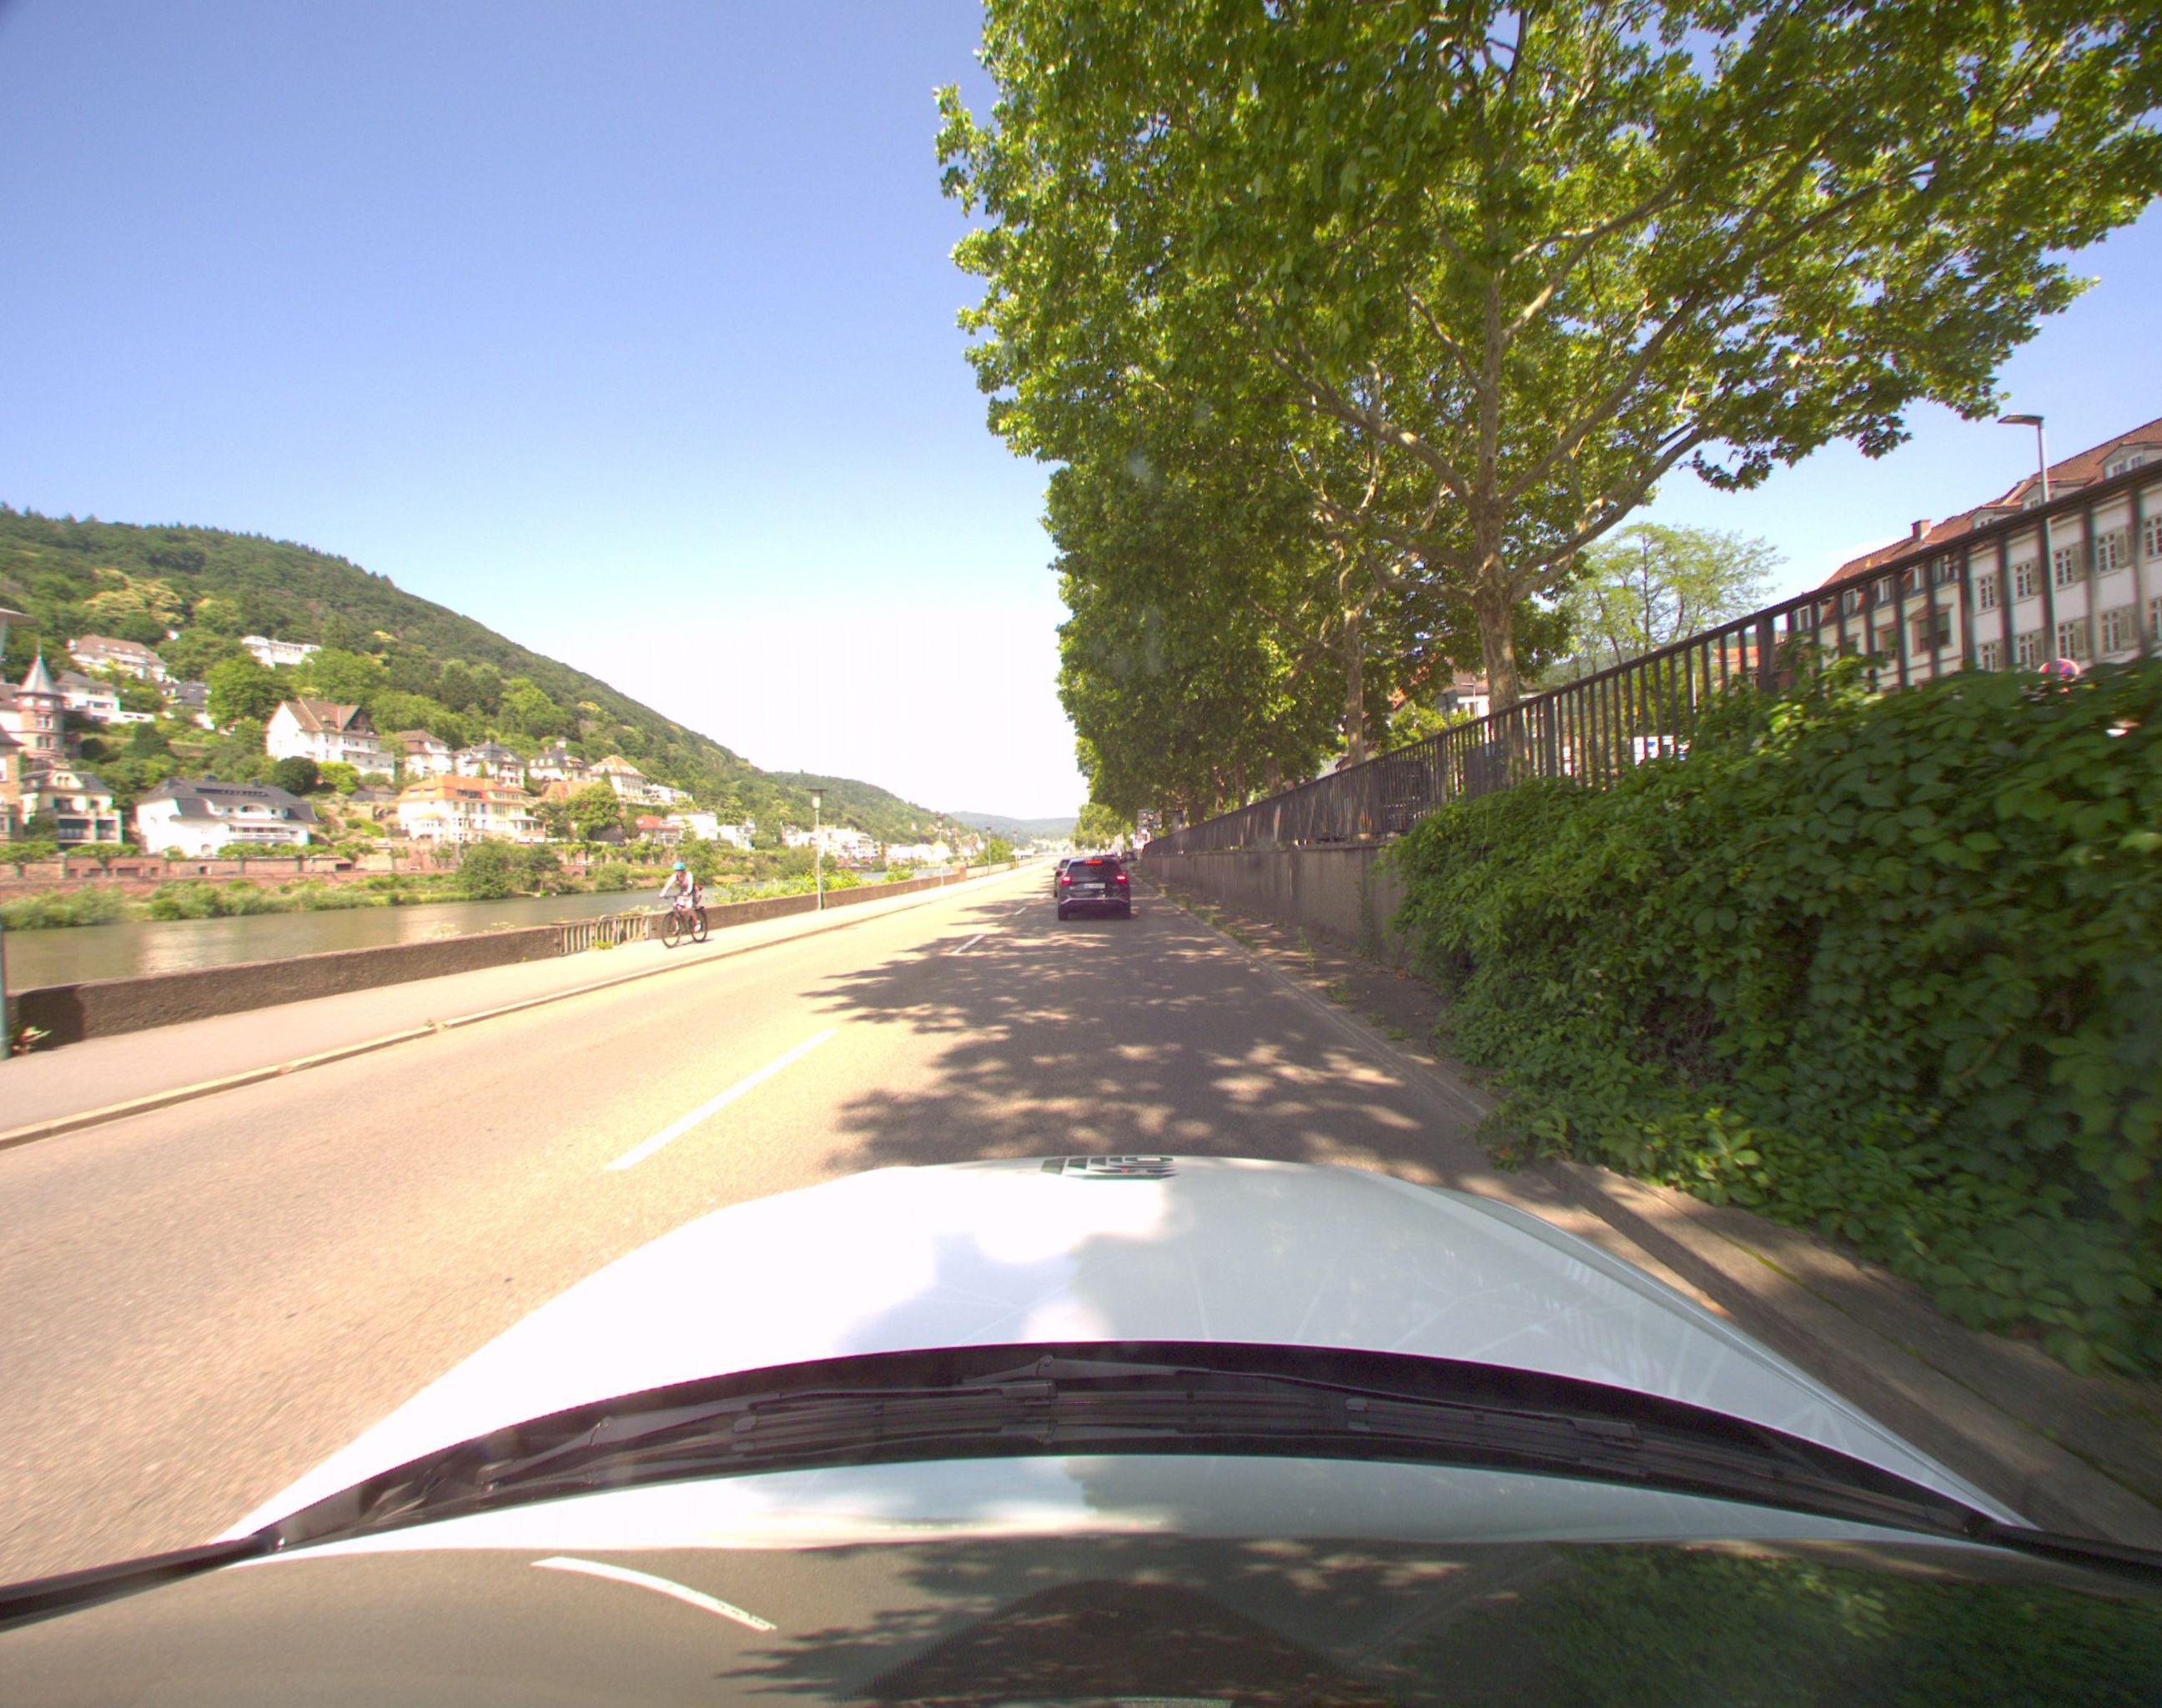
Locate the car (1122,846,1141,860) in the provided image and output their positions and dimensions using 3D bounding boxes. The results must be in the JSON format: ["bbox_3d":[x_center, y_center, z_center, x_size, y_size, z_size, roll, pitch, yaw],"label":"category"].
[{"bbox_3d":[8.291,-0.103,133.904,2.653,2.013,5.825,-5,0,1],"label":"car"}]

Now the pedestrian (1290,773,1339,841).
[{"bbox_3d":[5.094,-1.000,17.793,0.678,1.365,0.989,-5,0,1],"label":"pedestrian"}]

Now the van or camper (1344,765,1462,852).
[{"bbox_3d":[10.263,-1.225,25.462,2.315,2.184,7.402,0,-1,31],"label":"van or camper"}]

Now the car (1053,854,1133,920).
[{"bbox_3d":[0.314,0.776,21.052,1.822,1.486,4.000,-1,0,1],"label":"car"}]

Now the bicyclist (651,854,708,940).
[{"bbox_3d":[-8.144,0.853,16.550,0.635,1.673,0.871,-3,0,0],"label":"bicyclist"}]

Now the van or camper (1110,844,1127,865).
[{"bbox_3d":[5.290,0.045,114.855,2.300,2.847,4.249,-3,0,3],"label":"van or camper"}]

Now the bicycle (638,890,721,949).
[{"bbox_3d":[-8.121,1.293,16.562,0.630,1.012,1.986,-3,0,1],"label":"bicycle"}]

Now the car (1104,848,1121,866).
[{"bbox_3d":[4.049,0.404,105.809,1.987,2.169,4.000,-3,0,1],"label":"car"}]

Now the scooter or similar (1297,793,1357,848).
[{"bbox_3d":[5.111,-0.687,17.012,0.852,1.026,1.107,-5,0,0],"label":"scooter or similar"}]

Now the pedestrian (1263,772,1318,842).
[{"bbox_3d":[5.111,-1.121,19.931,0.934,1.579,1.027,-5,0,-1],"label":"pedestrian"}]

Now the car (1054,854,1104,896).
[{"bbox_3d":[-0.034,0.776,32.116,1.822,1.511,4.000,-1,0,1],"label":"car"}]

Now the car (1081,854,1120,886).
[{"bbox_3d":[0.948,0.779,40.819,1.822,1.486,4.000,-1,0,1],"label":"car"}]

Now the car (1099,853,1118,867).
[{"bbox_3d":[2.862,0.607,84.980,1.822,1.444,4.000,-1,0,1],"label":"car"}]

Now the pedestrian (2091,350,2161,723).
[{"bbox_3d":[4.469,-1.237,2.851,0.751,1.365,0.814,-5,0,-1],"label":"pedestrian"}]

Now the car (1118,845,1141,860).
[{"bbox_3d":[7.352,-0.236,125.052,3.088,2.013,5.825,-5,0,1],"label":"car"}]
